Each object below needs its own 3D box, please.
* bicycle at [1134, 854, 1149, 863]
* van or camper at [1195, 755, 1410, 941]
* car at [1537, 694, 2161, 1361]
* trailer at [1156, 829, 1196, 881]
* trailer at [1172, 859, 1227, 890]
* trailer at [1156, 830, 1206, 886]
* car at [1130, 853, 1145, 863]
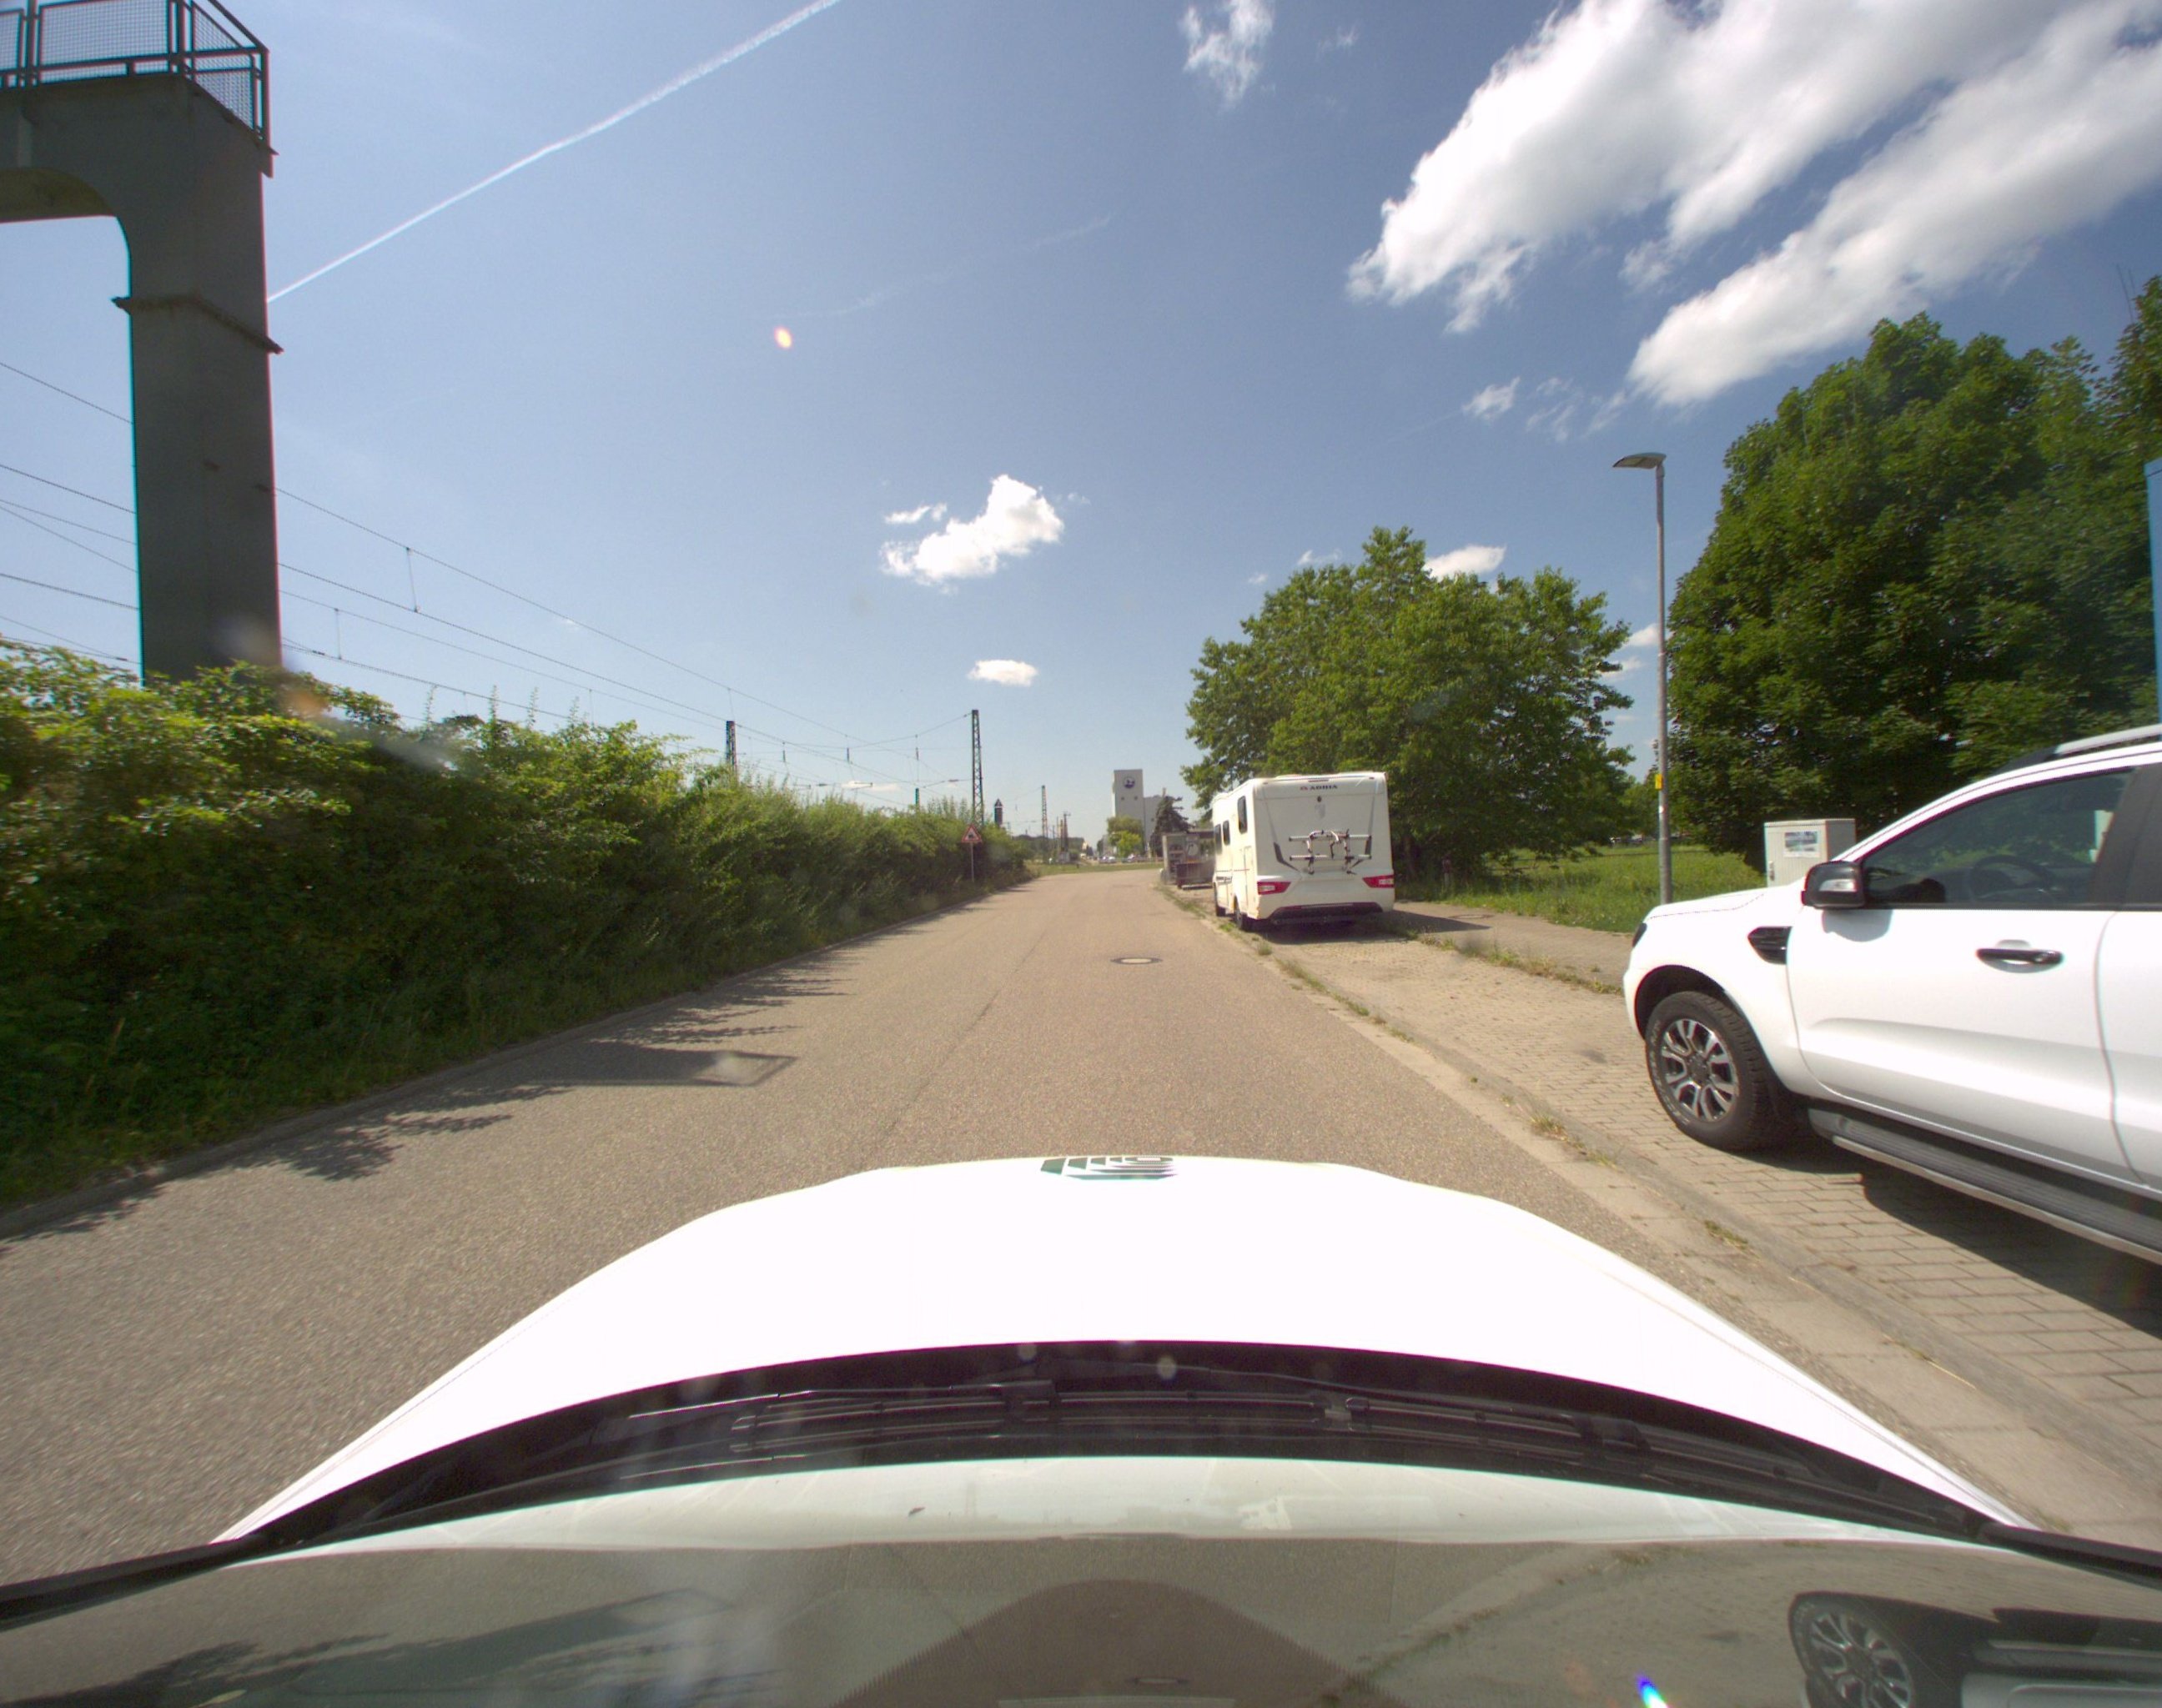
[{"bbox_3d":[8.595,0.611,116.023,2.119,1.165,0.665,-2,0,32],"label":"bicycle"},{"bbox_3d":[4.068,-0.090,16.824,2.430,2.826,7.626,-3,0,2],"label":"van or camper"},{"bbox_3d":[3.815,0.407,2.453,1.841,1.814,5.427,-5,0,2],"label":"car"},{"bbox_3d":[5.398,0.062,46.139,1.922,2.644,5.194,-5,0,7],"label":"trailer"},{"bbox_3d":[5.086,0.863,35.528,1.995,1.123,4.494,-5,-1,4],"label":"trailer"},{"bbox_3d":[4.956,0.212,41.001,1.911,2.508,4.743,-4,0,2],"label":"trailer"},{"bbox_3d":[9.663,0.647,139.060,1.990,1.510,4.448,-2,0,-4],"label":"car"}]
